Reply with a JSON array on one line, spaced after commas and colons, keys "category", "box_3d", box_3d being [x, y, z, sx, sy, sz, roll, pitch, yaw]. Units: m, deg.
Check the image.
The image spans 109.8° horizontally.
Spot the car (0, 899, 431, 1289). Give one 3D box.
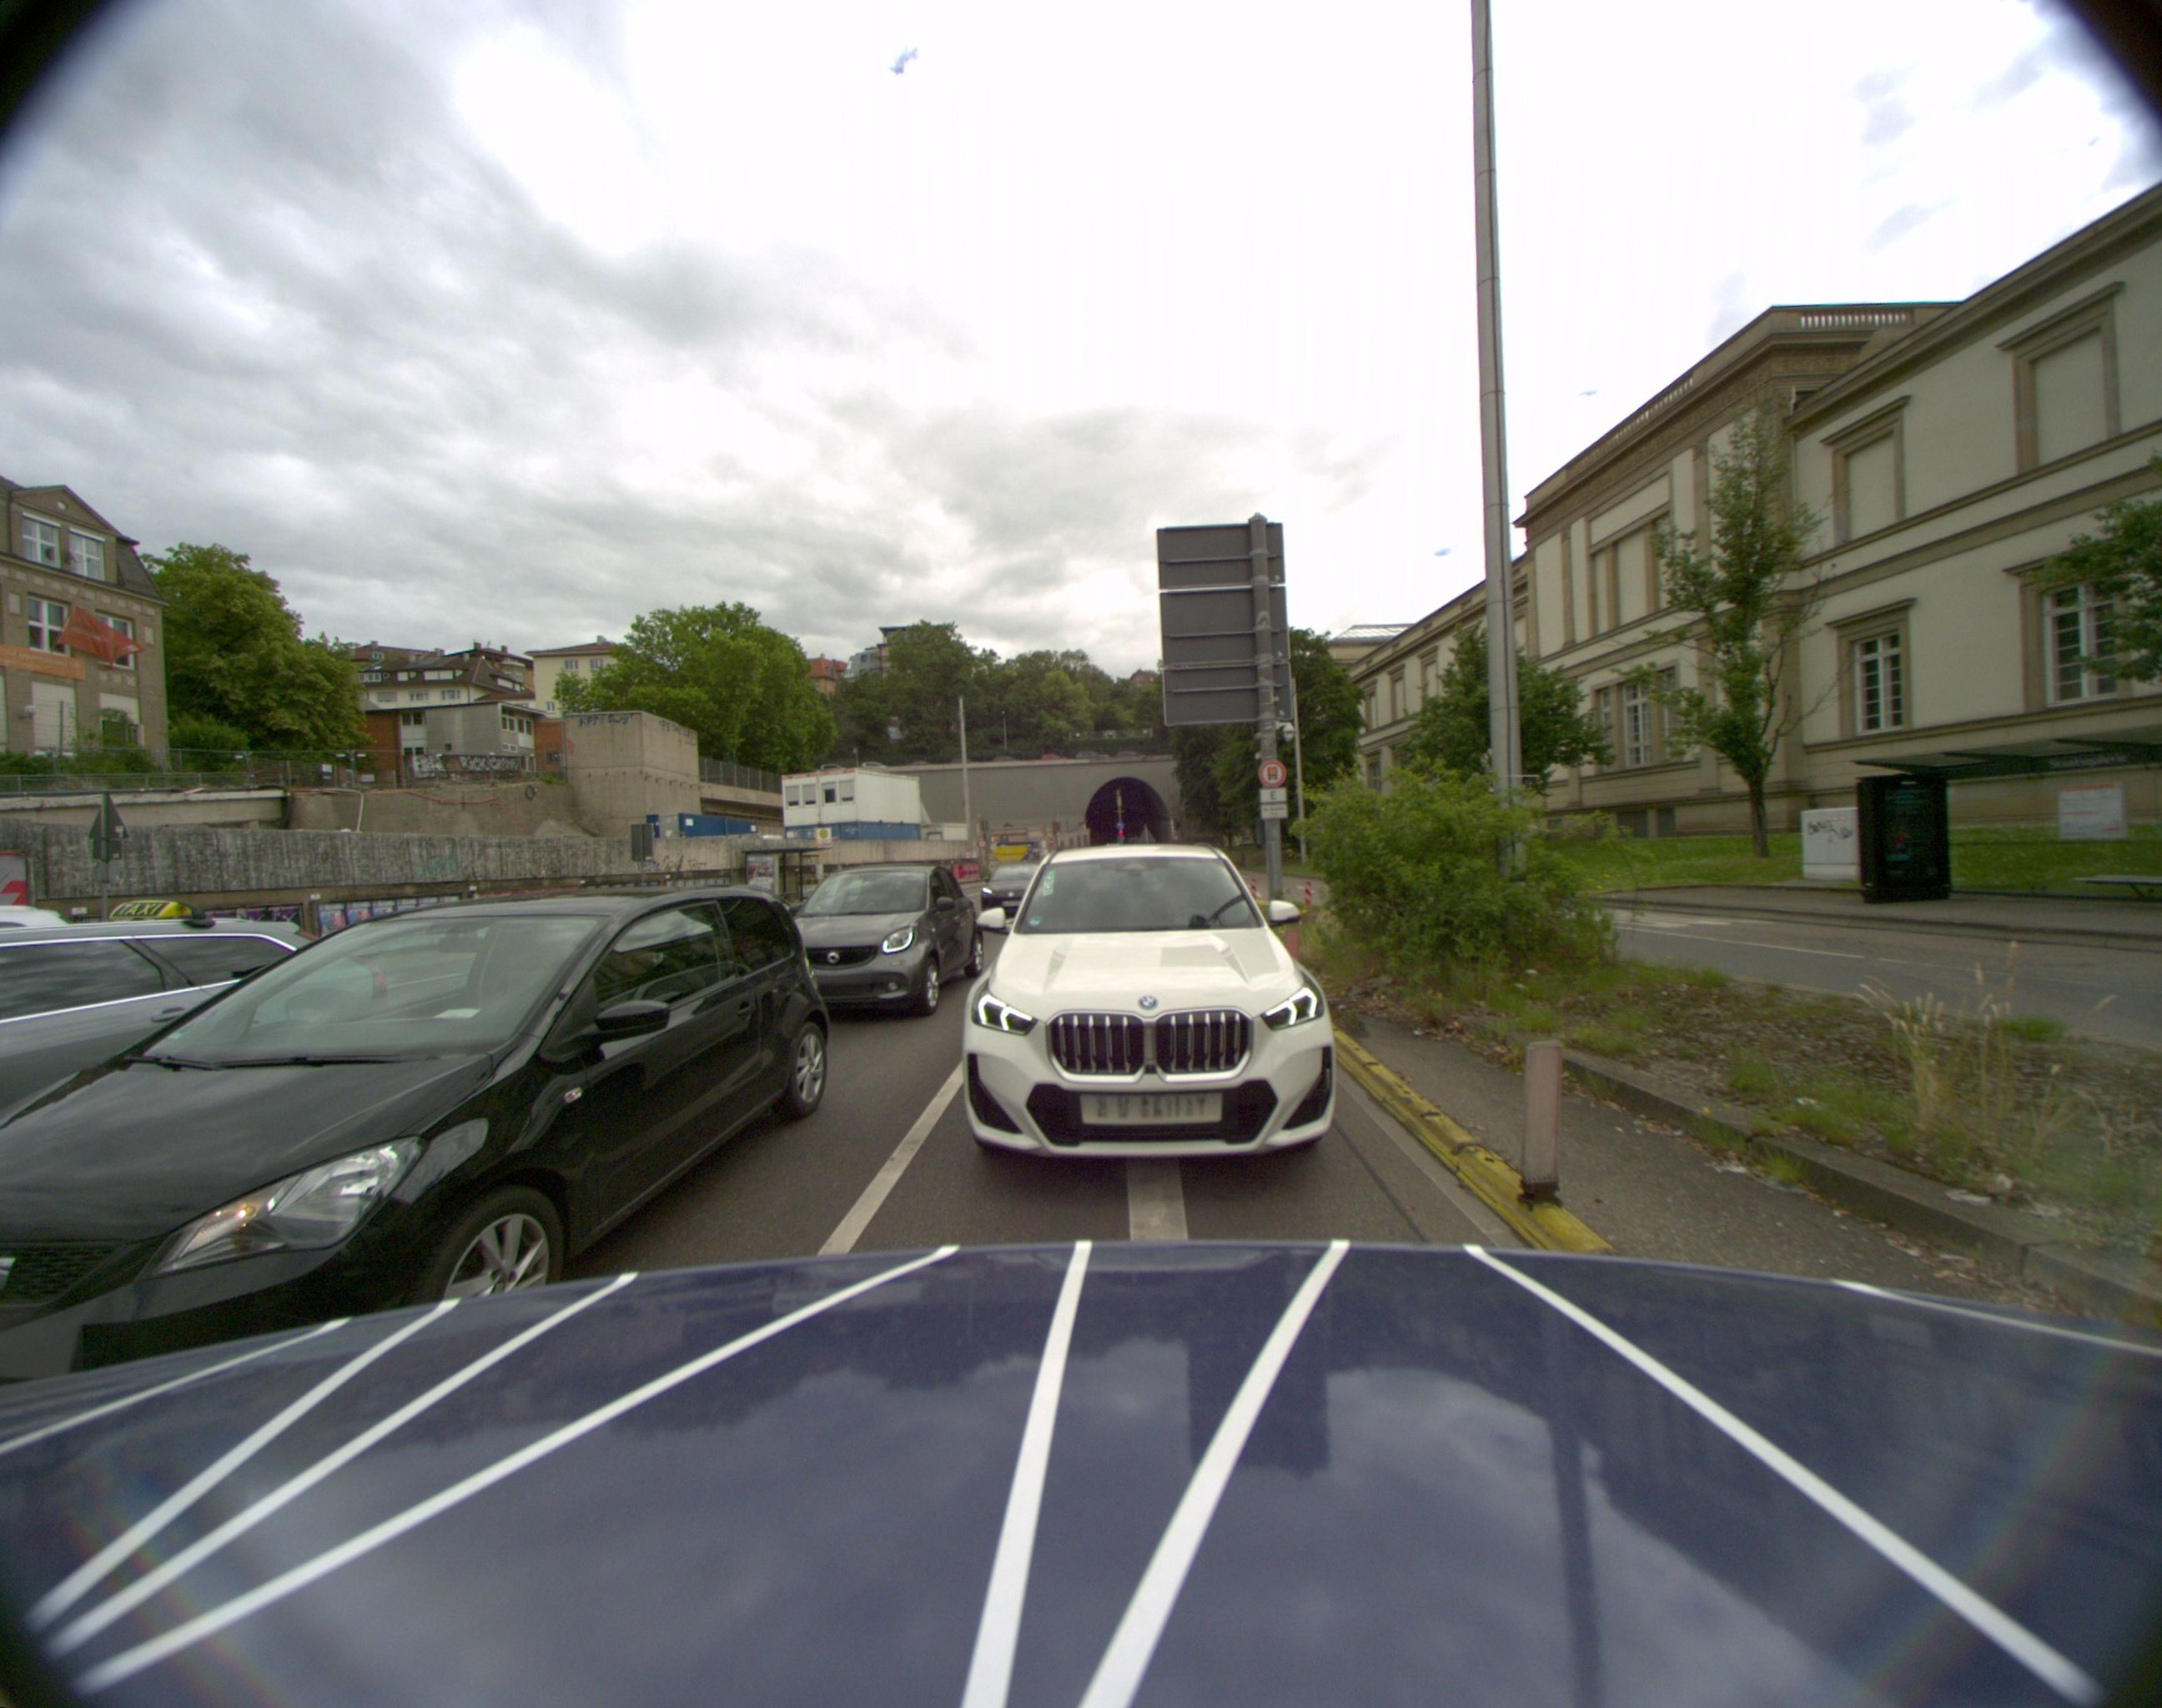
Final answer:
[{"category": "car", "box_3d": [-5.862, 1.207, 3.301, 1.829, 1.615, 4.808, -2, 1, 1]}]

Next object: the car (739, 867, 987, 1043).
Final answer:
[{"category": "car", "box_3d": [-2.259, 0.979, 8.889, 1.720, 1.535, 3.575, -2, 0, 2]}]

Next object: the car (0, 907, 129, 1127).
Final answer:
[{"category": "car", "box_3d": [-9.112, 1.319, 4.443, 1.680, 1.615, 4.209, -2, 1, 1]}]

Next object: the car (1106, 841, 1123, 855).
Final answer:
[{"category": "car", "box_3d": [3.557, -0.617, 81.089, 1.680, 1.358, 3.806, -2, 1, 1]}]

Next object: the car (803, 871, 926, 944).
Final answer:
[{"category": "car", "box_3d": [-4.924, 1.163, 17.810, 1.680, 1.358, 3.806, -2, 1, 1]}]

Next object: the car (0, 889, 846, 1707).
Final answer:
[{"category": "car", "box_3d": [-2.577, 1.017, 3.340, 1.829, 1.450, 3.700, -2, 1, 1]}]

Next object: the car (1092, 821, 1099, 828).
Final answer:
[{"category": "car", "box_3d": [4.110, -8.361, 215.961, 1.946, 1.714, 4.000, -2, 1, 4]}]

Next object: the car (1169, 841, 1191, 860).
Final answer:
[{"category": "car", "box_3d": [9.267, -0.356, 71.524, 1.836, 1.736, 4.001, -2, 1, 5]}]

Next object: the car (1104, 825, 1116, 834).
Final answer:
[{"category": "car", "box_3d": [5.514, -4.657, 145.184, 1.903, 1.615, 4.107, -2, 0, 0]}]

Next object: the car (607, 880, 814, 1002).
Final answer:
[{"category": "car", "box_3d": [-5.353, 1.190, 11.359, 1.665, 1.423, 2.714, -2, 1, 1]}]

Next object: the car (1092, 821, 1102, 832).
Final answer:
[{"category": "car", "box_3d": [4.020, -6.773, 187.187, 2.203, 2.493, 4.758, -2, 1, 2]}]

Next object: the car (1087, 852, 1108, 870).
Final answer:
[{"category": "car", "box_3d": [1.396, 0.562, 64.943, 1.680, 1.358, 3.806, -2, 1, 1]}]

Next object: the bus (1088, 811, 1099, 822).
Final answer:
[{"category": "bus", "box_3d": [3.961, -11.886, 241.343, 3.171, 3.129, 9.118, -2, 1, -1]}]

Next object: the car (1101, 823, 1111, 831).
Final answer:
[{"category": "car", "box_3d": [5.398, -5.858, 164.418, 1.778, 1.609, 3.802, -2, 1, -1]}]

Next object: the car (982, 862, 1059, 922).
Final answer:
[{"category": "car", "box_3d": [-1.672, 1.038, 22.138, 1.680, 1.450, 3.807, -2, 1, 3]}]

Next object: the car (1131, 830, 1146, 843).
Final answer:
[{"category": "car", "box_3d": [8.090, -2.413, 106.726, 1.902, 1.615, 4.109, -2, 0, 6]}]

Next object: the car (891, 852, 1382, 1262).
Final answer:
[{"category": "car", "box_3d": [0.257, 0.847, 4.999, 1.987, 1.615, 3.670, -2, 1, 1]}]

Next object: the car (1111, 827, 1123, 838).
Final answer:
[{"category": "car", "box_3d": [6.122, -3.671, 129.903, 1.903, 1.615, 4.107, -2, 0, 0]}]
